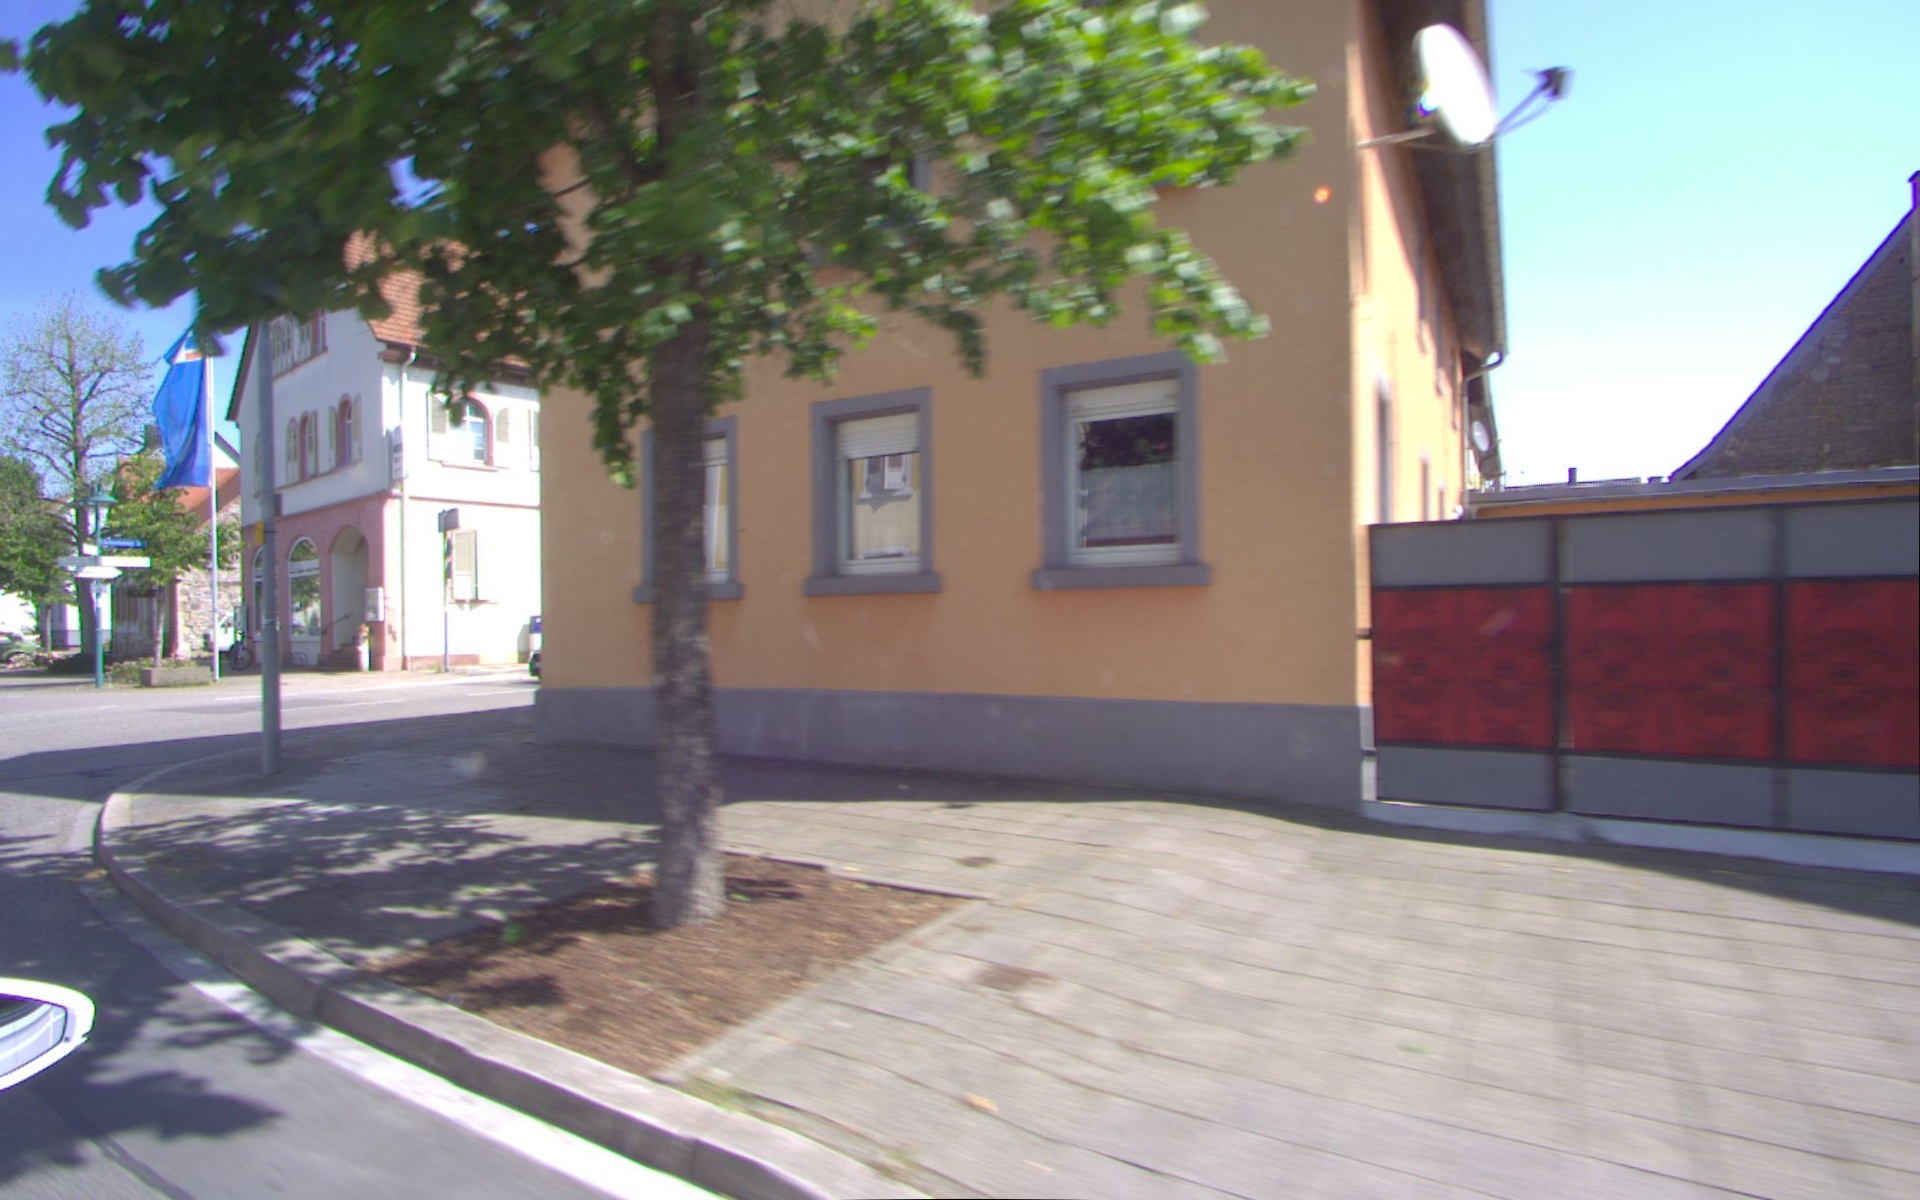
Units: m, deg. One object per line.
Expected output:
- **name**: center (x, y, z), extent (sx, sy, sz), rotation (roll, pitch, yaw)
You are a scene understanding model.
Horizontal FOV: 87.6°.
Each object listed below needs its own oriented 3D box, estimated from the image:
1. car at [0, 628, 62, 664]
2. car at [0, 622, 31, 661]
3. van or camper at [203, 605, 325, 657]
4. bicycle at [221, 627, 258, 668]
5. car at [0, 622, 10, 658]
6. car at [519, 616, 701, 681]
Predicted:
- **car**: center (-37.282, 1.755, 38.466), extent (1.977, 1.362, 3.907), rotation (-1, -2, 40)
- **car**: center (-42.532, 1.769, 42.205), extent (1.977, 1.644, 4.782), rotation (-1, -1, 40)
- **van or camper**: center (-28.762, 1.231, 41.418), extent (3.957, 2.040, 1.983), rotation (0, -1, -41)
- **bicycle**: center (-21.355, 1.392, 29.669), extent (1.730, 1.150, 0.590), rotation (-1, 0, 44)
- **car**: center (-44.666, 1.770, 43.952), extent (1.977, 1.588, 4.132), rotation (-1, -1, 40)
- **car**: center (-8.354, 1.112, 24.319), extent (1.713, 1.394, 4.256), rotation (-1, -1, 24)
